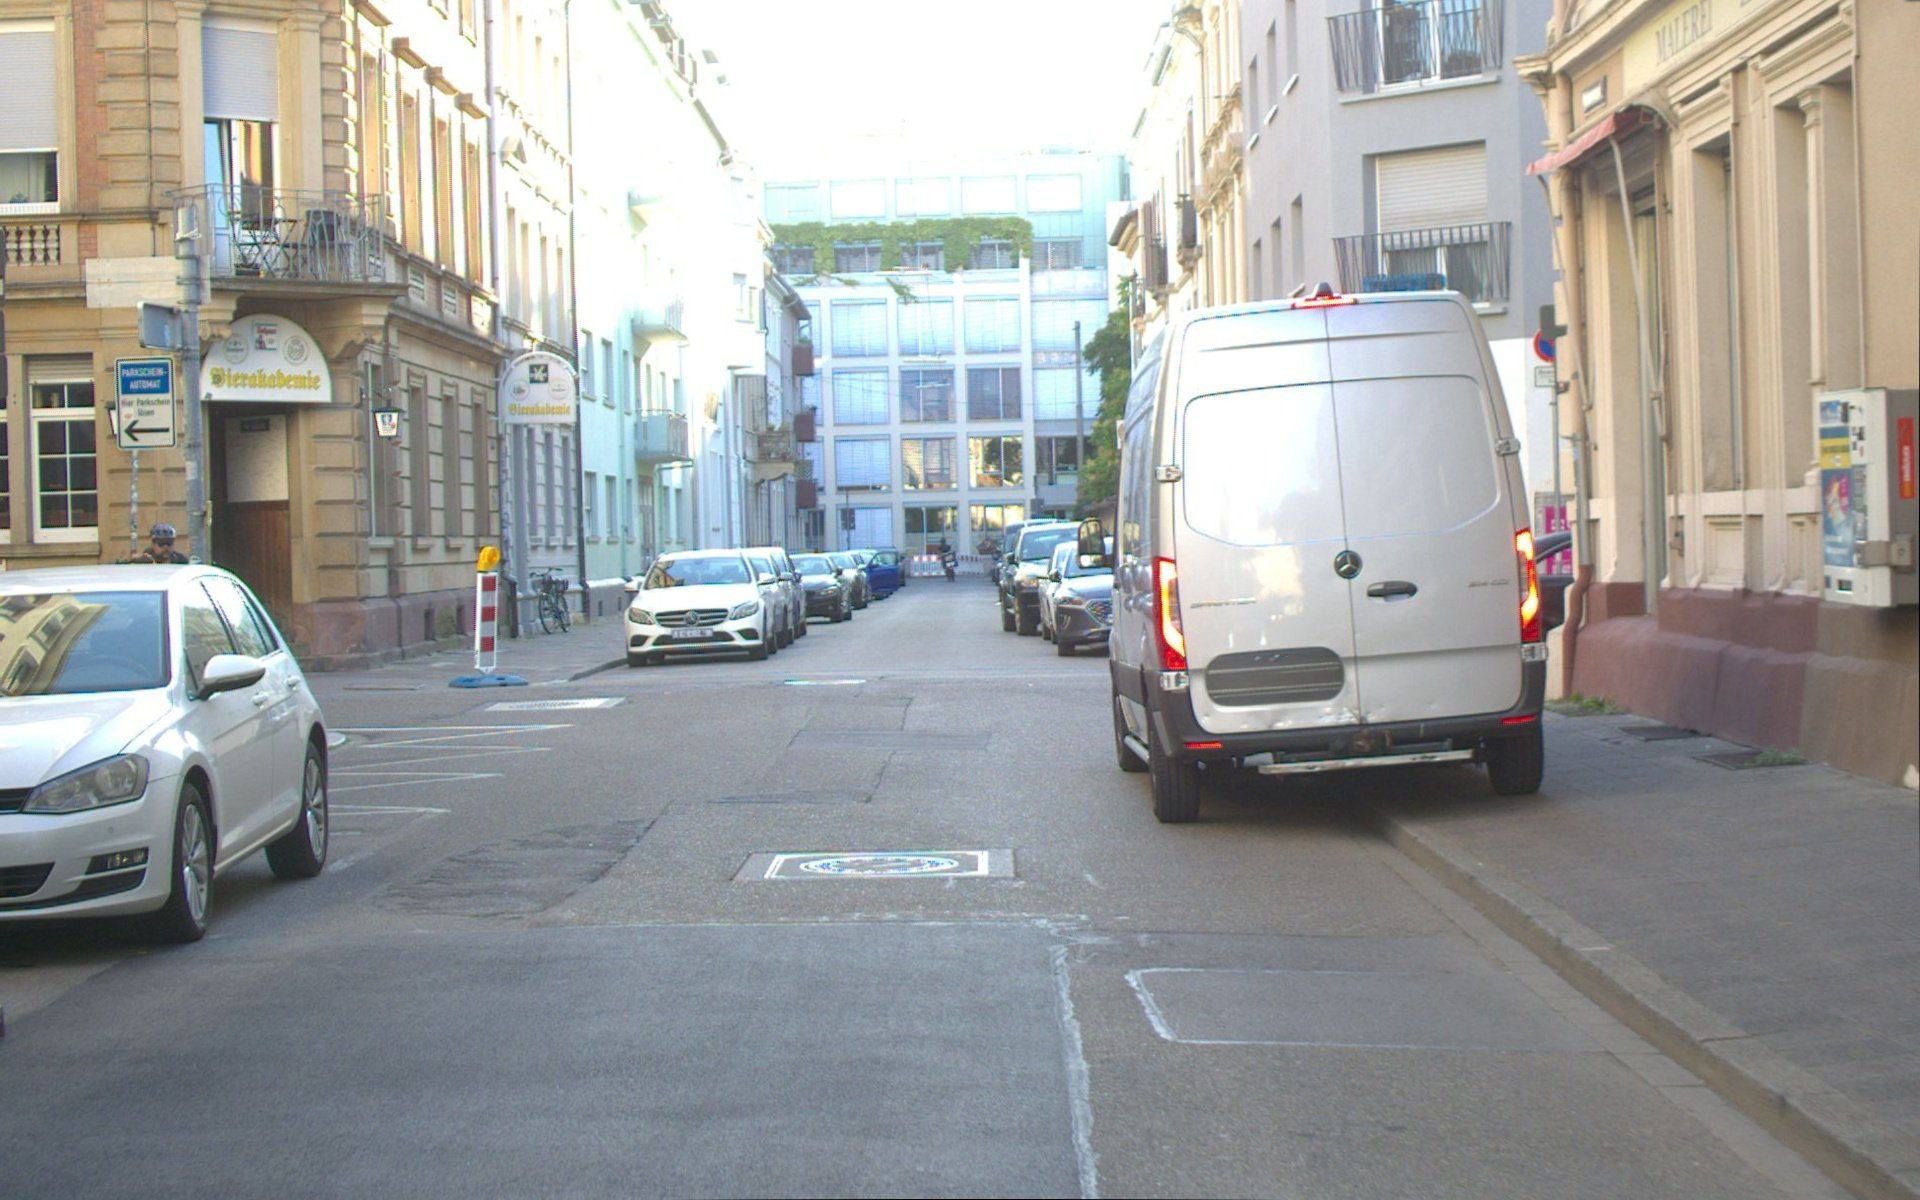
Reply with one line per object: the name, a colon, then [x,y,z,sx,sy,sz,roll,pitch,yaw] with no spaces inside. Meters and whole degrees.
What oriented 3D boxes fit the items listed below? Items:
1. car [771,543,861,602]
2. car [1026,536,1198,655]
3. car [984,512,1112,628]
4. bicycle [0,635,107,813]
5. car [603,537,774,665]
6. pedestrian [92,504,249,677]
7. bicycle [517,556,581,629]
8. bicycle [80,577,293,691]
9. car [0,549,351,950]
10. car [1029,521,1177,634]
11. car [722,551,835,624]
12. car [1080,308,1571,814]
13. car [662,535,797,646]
car: [-3.591,-0.712,86.343,2.173,1.413,4.000,-1,1,-2]
car: [1.920,-0.090,44.514,1.938,1.367,3.789,-3,1,-1]
car: [1.398,-0.502,56.006,1.893,1.778,4.000,-1,1,-1]
bicycle: [-5.322,0.680,19.319,0.596,0.902,1.644,-1,1,1]
car: [-3.541,-0.031,45.619,1.993,1.559,4.506,-1,1,-2]
pedestrian: [-7.191,-0.090,31.322,1.080,1.540,0.830,-1,1,27]
bicycle: [-6.816,-0.134,57.085,0.737,1.156,2.461,-1,1,0]
bicycle: [-7.030,0.309,31.210,1.977,1.004,0.539,-1,1,27]
car: [-3.678,0.522,14.149,1.657,1.409,3.882,-2,1,-1]
car: [2.060,-0.350,50.583,1.963,1.552,3.889,-1,1,0]
car: [-3.578,-0.279,68.344,1.993,1.350,4.429,-1,1,0]
car: [1.900,-0.246,19.959,2.277,2.431,6.203,-1,1,1]
car: [-3.409,-0.170,51.311,1.625,1.571,3.754,-1,1,2]
